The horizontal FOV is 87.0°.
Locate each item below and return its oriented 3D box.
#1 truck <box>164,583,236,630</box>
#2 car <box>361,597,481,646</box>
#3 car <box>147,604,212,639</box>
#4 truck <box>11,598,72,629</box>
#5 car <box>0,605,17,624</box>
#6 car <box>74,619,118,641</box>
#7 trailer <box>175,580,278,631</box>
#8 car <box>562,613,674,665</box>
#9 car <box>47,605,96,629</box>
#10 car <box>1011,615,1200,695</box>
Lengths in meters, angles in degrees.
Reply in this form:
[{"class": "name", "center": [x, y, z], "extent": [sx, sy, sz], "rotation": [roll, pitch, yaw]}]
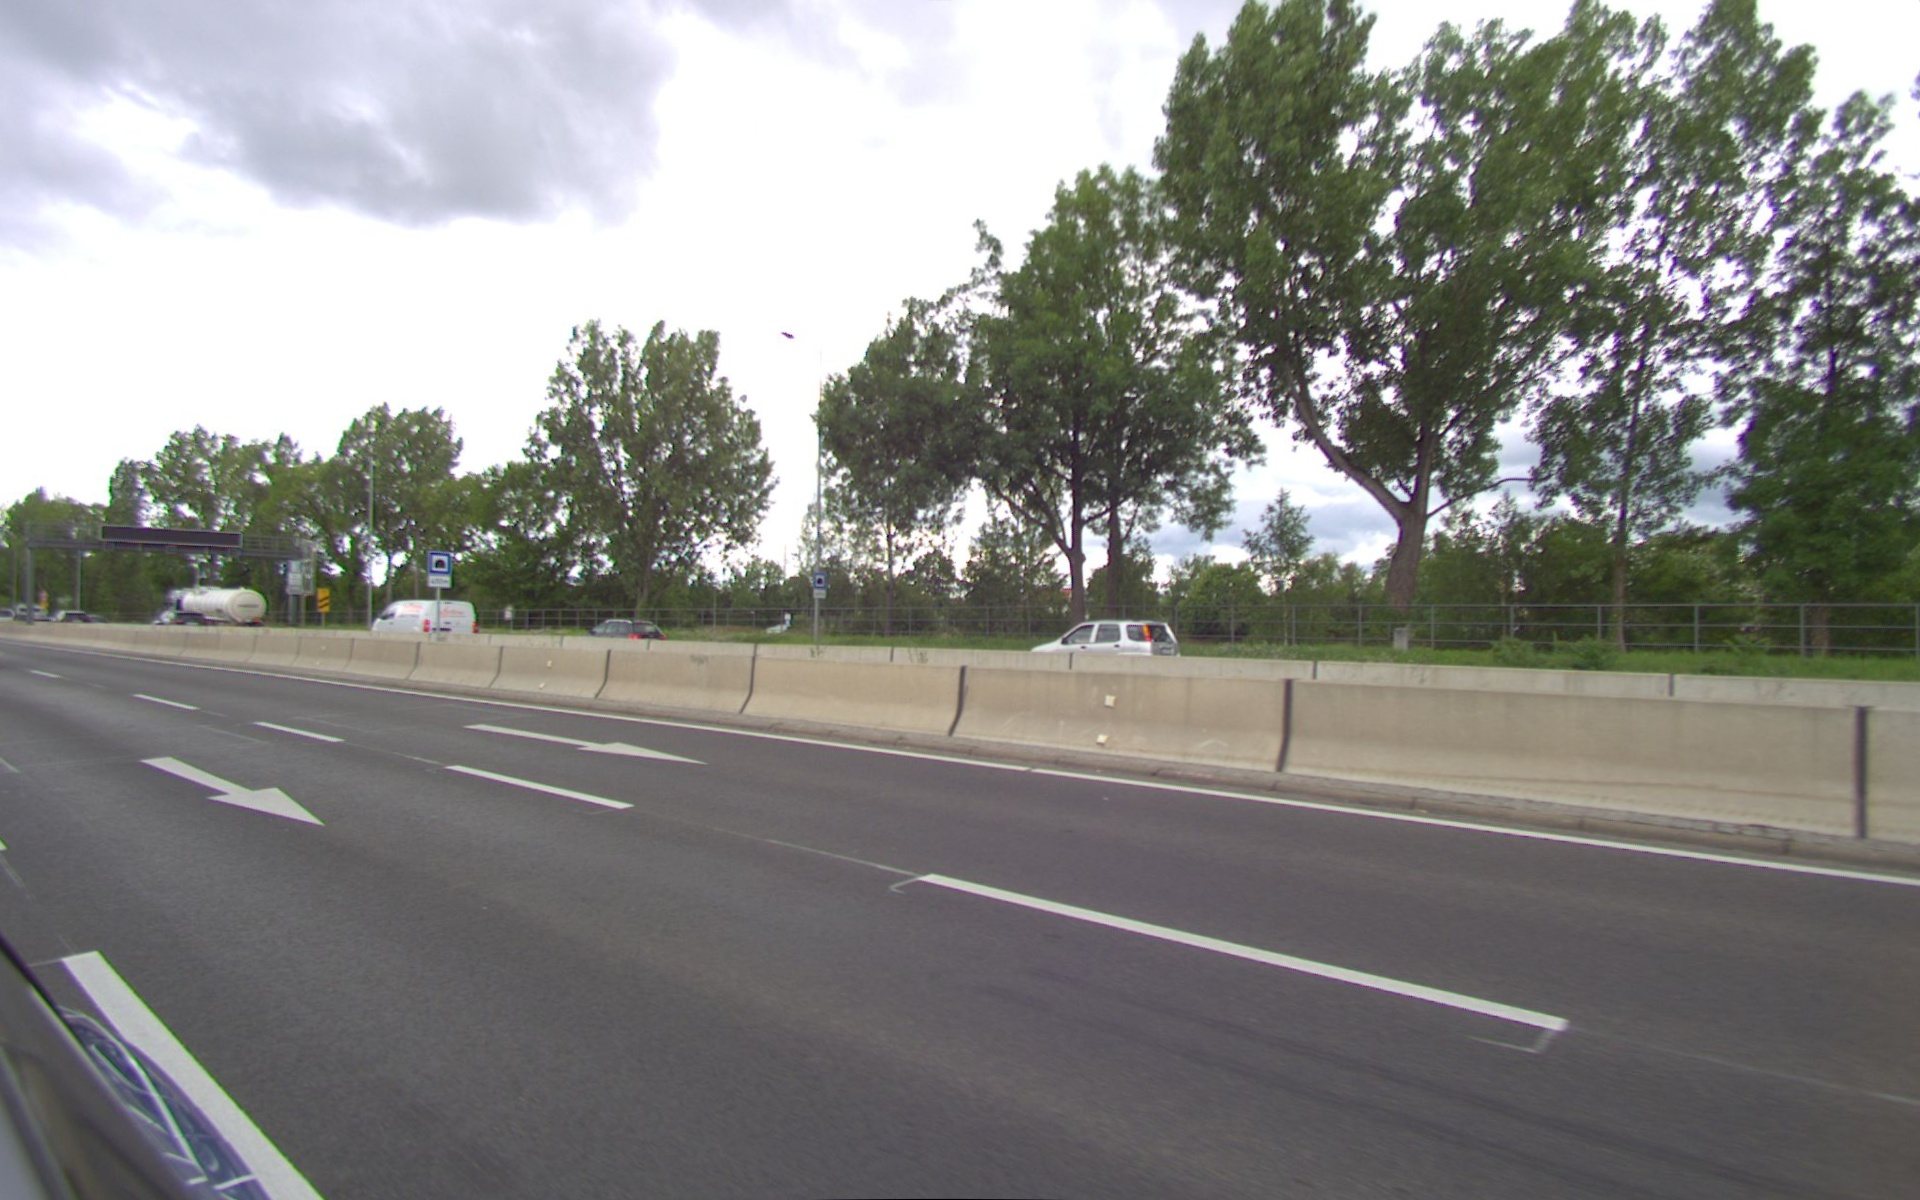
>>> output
[{"class": "truck", "center": [-55.280, 0.500, 73.548], "extent": [5.388, 3.243, 3.066], "rotation": [-1, 0, 41]}, {"class": "car", "center": [-19.101, 0.734, 35.784], "extent": [4.880, 1.571, 1.974], "rotation": [-1, 0, 39]}, {"class": "car", "center": [-41.125, 1.108, 53.289], "extent": [3.998, 1.752, 1.973], "rotation": [-1, 0, 41]}, {"class": "truck", "center": [-99.814, 1.513, 109.843], "extent": [15.872, 3.130, 2.825], "rotation": [-1, 0, 40]}, {"class": "car", "center": [-85.003, 1.299, 89.382], "extent": [4.694, 1.630, 1.973], "rotation": [-1, 0, 41]}, {"class": "car", "center": [-68.049, 2.323, 79.716], "extent": [4.694, 1.630, 1.973], "rotation": [-1, 0, 41]}, {"class": "trailer", "center": [-50.386, 0.419, 69.341], "extent": [11.660, 3.244, 3.069], "rotation": [-1, 0, 41]}, {"class": "car", "center": [-12.844, 1.411, 37.906], "extent": [4.467, 1.752, 1.973], "rotation": [-1, 0, 41]}, {"class": "car", "center": [-63.190, 1.206, 71.946], "extent": [4.694, 1.630, 1.973], "rotation": [-1, 0, 41]}, {"class": "car", "center": [3.424, 1.243, 24.279], "extent": [4.120, 1.695, 1.859], "rotation": [-1, 0, 41]}]
